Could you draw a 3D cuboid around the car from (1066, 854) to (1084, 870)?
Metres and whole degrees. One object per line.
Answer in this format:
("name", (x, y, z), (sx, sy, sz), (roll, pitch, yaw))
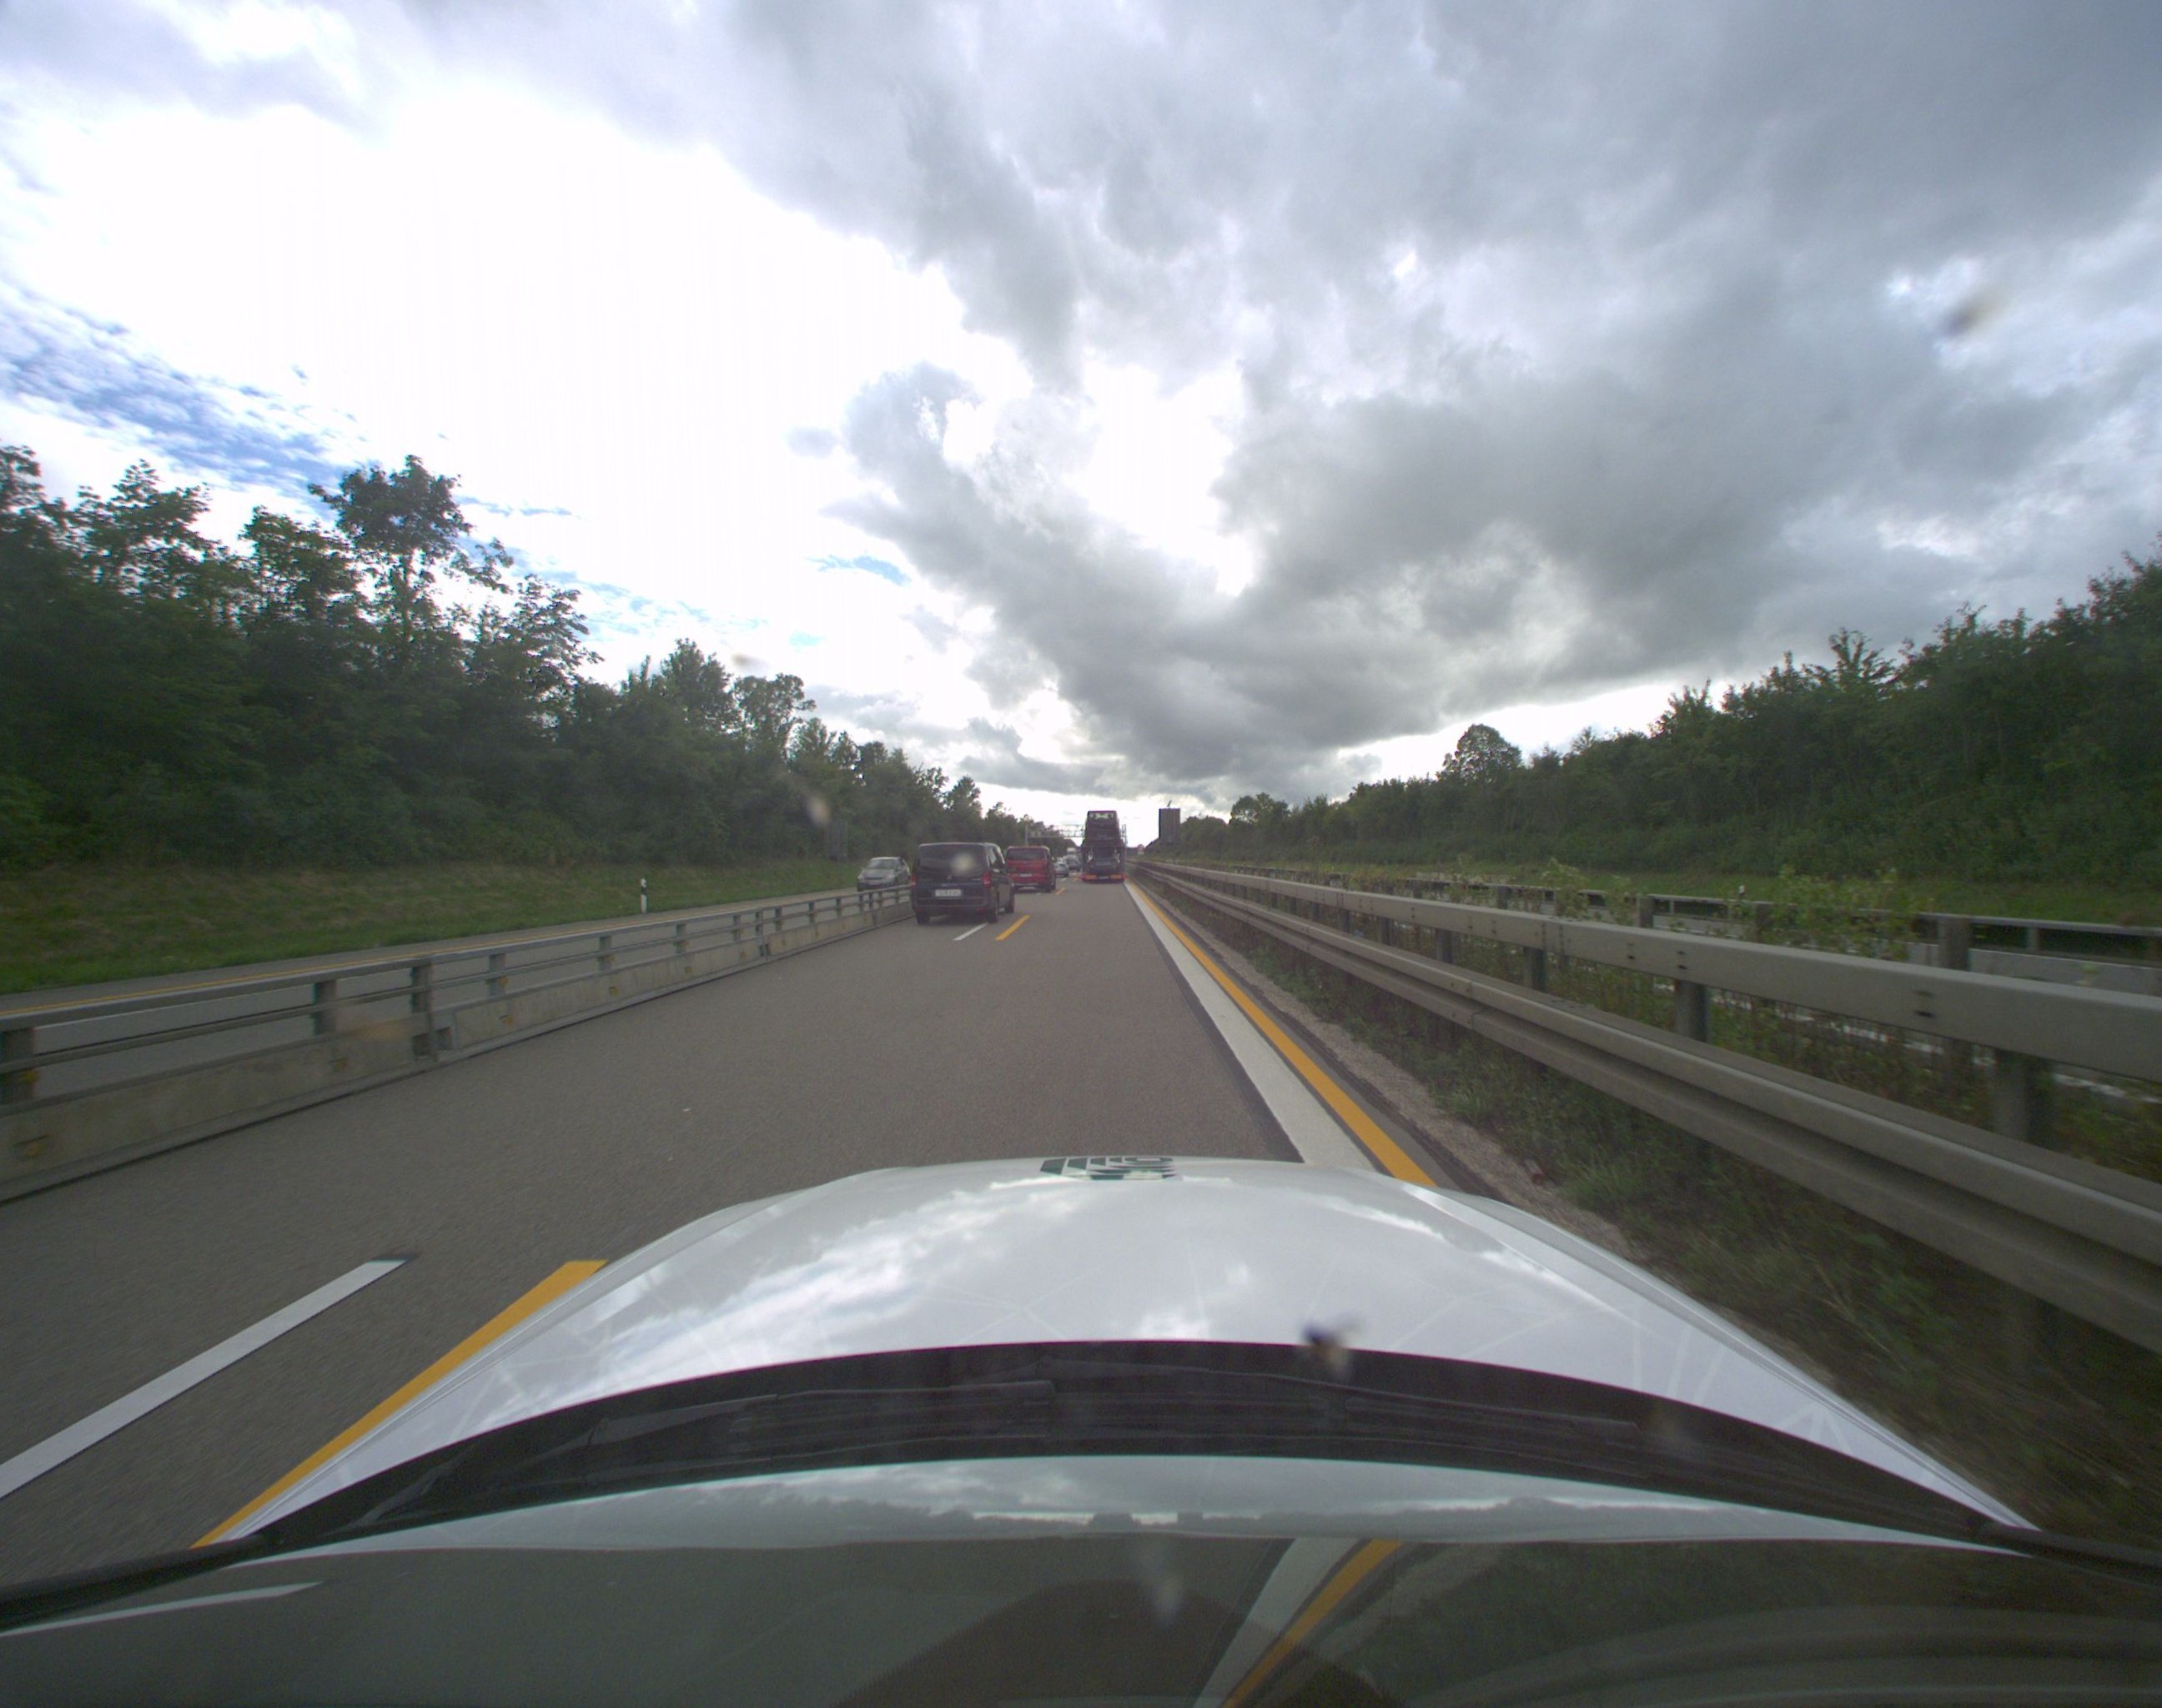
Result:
("car", (-0.664, 0.964, 97.740), (2.024, 1.757, 4.578), (-1, 0, 1))

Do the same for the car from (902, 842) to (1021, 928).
("car", (-2.832, 0.691, 20.693), (1.986, 1.843, 5.611), (-1, 0, 2))

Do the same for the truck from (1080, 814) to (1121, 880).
("truck", (1.362, -0.420, 54.141), (2.505, 4.105, 5.688), (-1, 0, 2))

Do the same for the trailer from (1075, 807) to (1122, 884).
("trailer", (1.167, -0.435, 49.387), (2.505, 4.105, 11.119), (-1, 0, 2))

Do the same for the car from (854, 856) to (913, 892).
("car", (-9.284, 0.890, 38.575), (1.675, 1.550, 3.951), (-2, 0, 1))

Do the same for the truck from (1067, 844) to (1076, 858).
("truck", (-2.833, -0.969, 248.620), (2.589, 4.154, 5.622), (0, 0, 1))

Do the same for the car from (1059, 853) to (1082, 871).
("car", (-1.018, 0.783, 80.467), (2.024, 1.757, 4.578), (-1, 0, 1))

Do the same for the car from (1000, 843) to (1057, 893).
("car", (-2.206, 0.600, 35.727), (2.023, 2.013, 4.579), (-1, 0, 2))

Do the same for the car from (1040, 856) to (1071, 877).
("car", (-1.844, 0.881, 60.541), (2.024, 1.430, 4.578), (-1, 0, 1))
